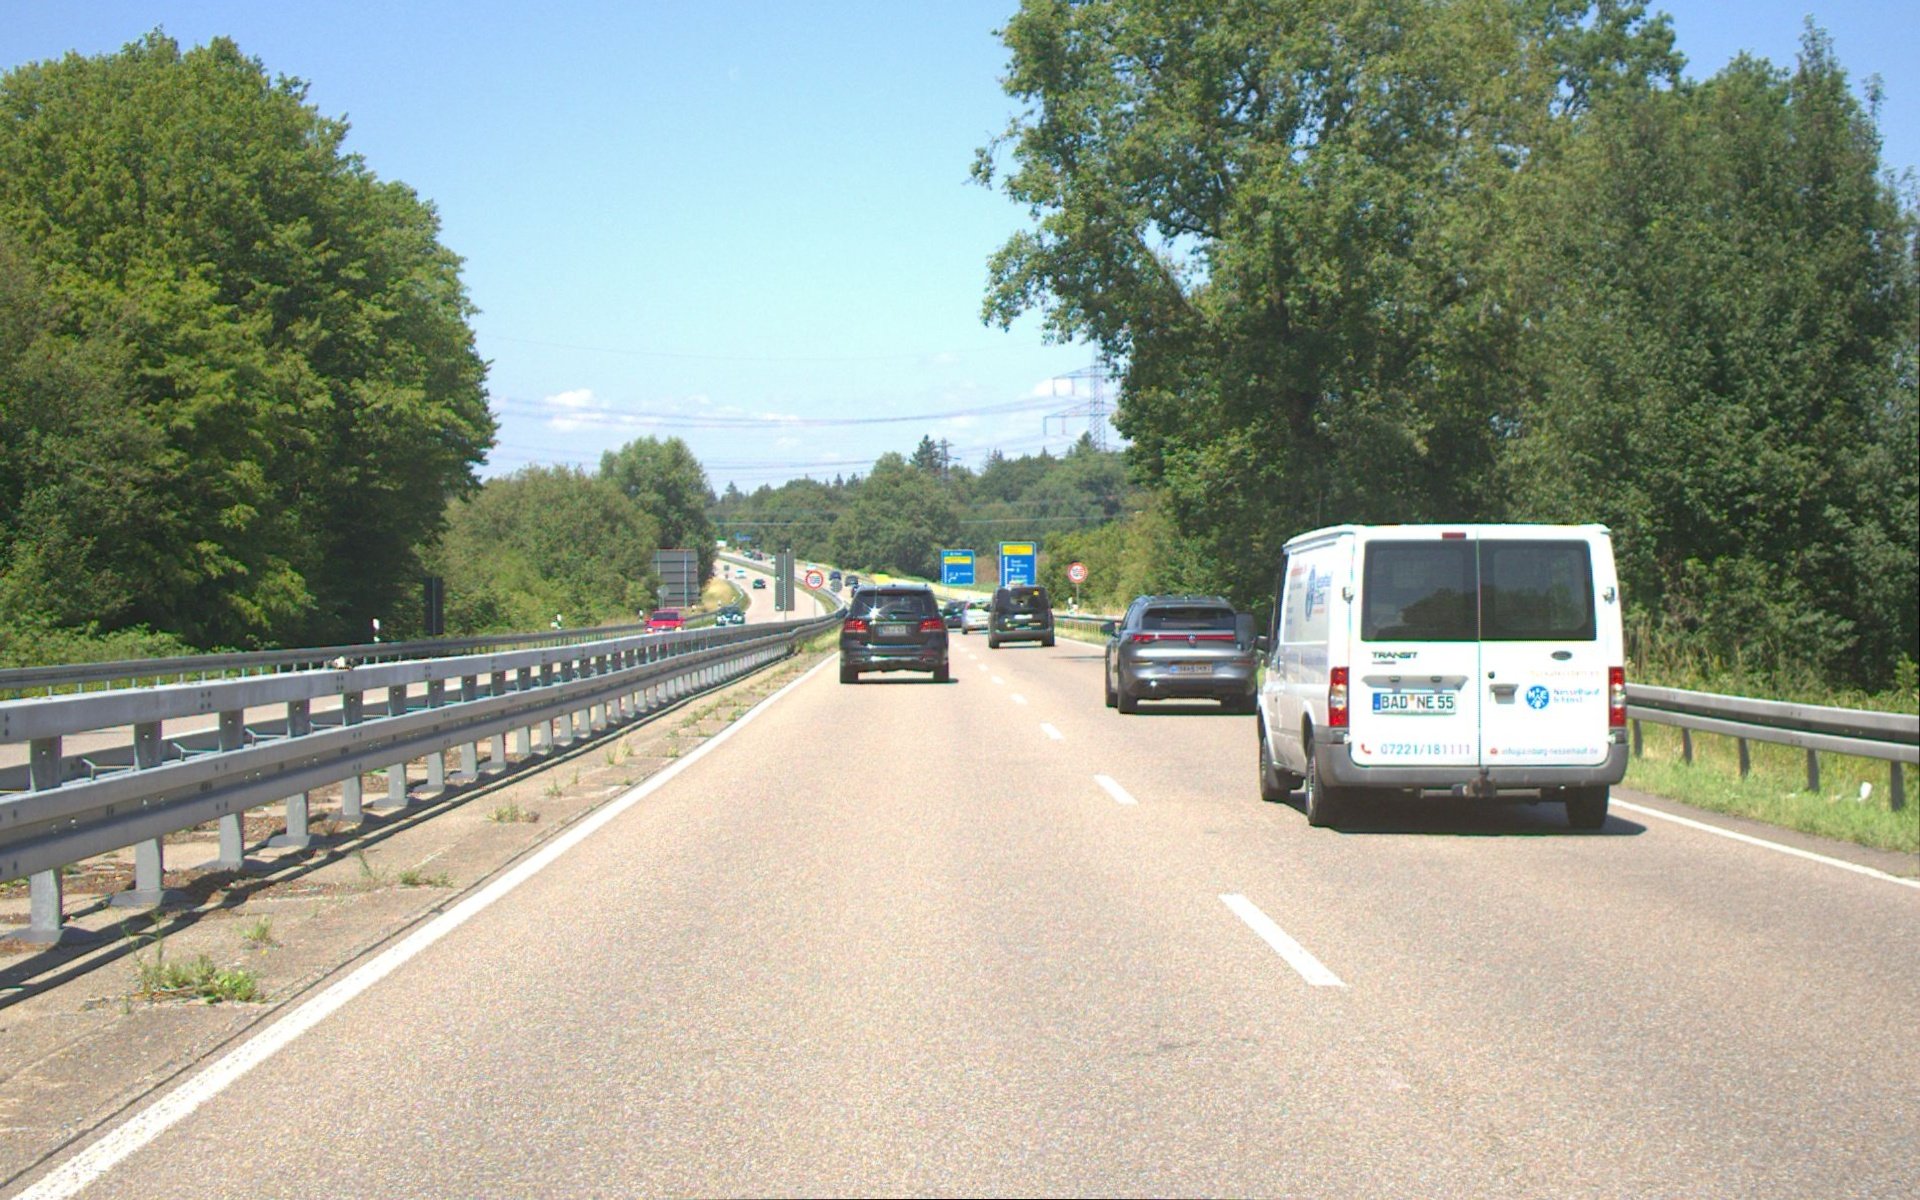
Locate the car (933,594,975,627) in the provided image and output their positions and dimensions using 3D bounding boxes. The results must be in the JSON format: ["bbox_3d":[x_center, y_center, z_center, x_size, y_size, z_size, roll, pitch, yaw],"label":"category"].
[{"bbox_3d":[-0.310,0.463,160.814,1.819,1.409,4.000,-2,1,-2],"label":"car"}]

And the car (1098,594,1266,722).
[{"bbox_3d":[2.883,0.727,45.389,1.785,1.548,4.019,-1,1,-2],"label":"car"}]

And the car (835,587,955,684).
[{"bbox_3d":[-1.190,0.624,61.273,1.993,1.649,4.000,1,0,-3],"label":"car"}]

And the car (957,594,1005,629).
[{"bbox_3d":[0.893,0.497,146.422,1.779,1.474,4.315,1,0,-3],"label":"car"}]

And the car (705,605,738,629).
[{"bbox_3d":[-14.716,1.050,212.427,1.797,1.463,3.773,0,0,0],"label":"car"}]

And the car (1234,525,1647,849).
[{"bbox_3d":[3.174,0.550,23.788,2.005,1.982,5.034,0,0,-2],"label":"car"}]

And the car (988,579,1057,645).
[{"bbox_3d":[1.787,0.325,99.665,1.779,1.810,4.213,-2,1,-1],"label":"car"}]

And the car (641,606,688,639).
[{"bbox_3d":[-13.256,0.993,154.280,1.776,1.414,4.575,-2,0,-1],"label":"car"}]
